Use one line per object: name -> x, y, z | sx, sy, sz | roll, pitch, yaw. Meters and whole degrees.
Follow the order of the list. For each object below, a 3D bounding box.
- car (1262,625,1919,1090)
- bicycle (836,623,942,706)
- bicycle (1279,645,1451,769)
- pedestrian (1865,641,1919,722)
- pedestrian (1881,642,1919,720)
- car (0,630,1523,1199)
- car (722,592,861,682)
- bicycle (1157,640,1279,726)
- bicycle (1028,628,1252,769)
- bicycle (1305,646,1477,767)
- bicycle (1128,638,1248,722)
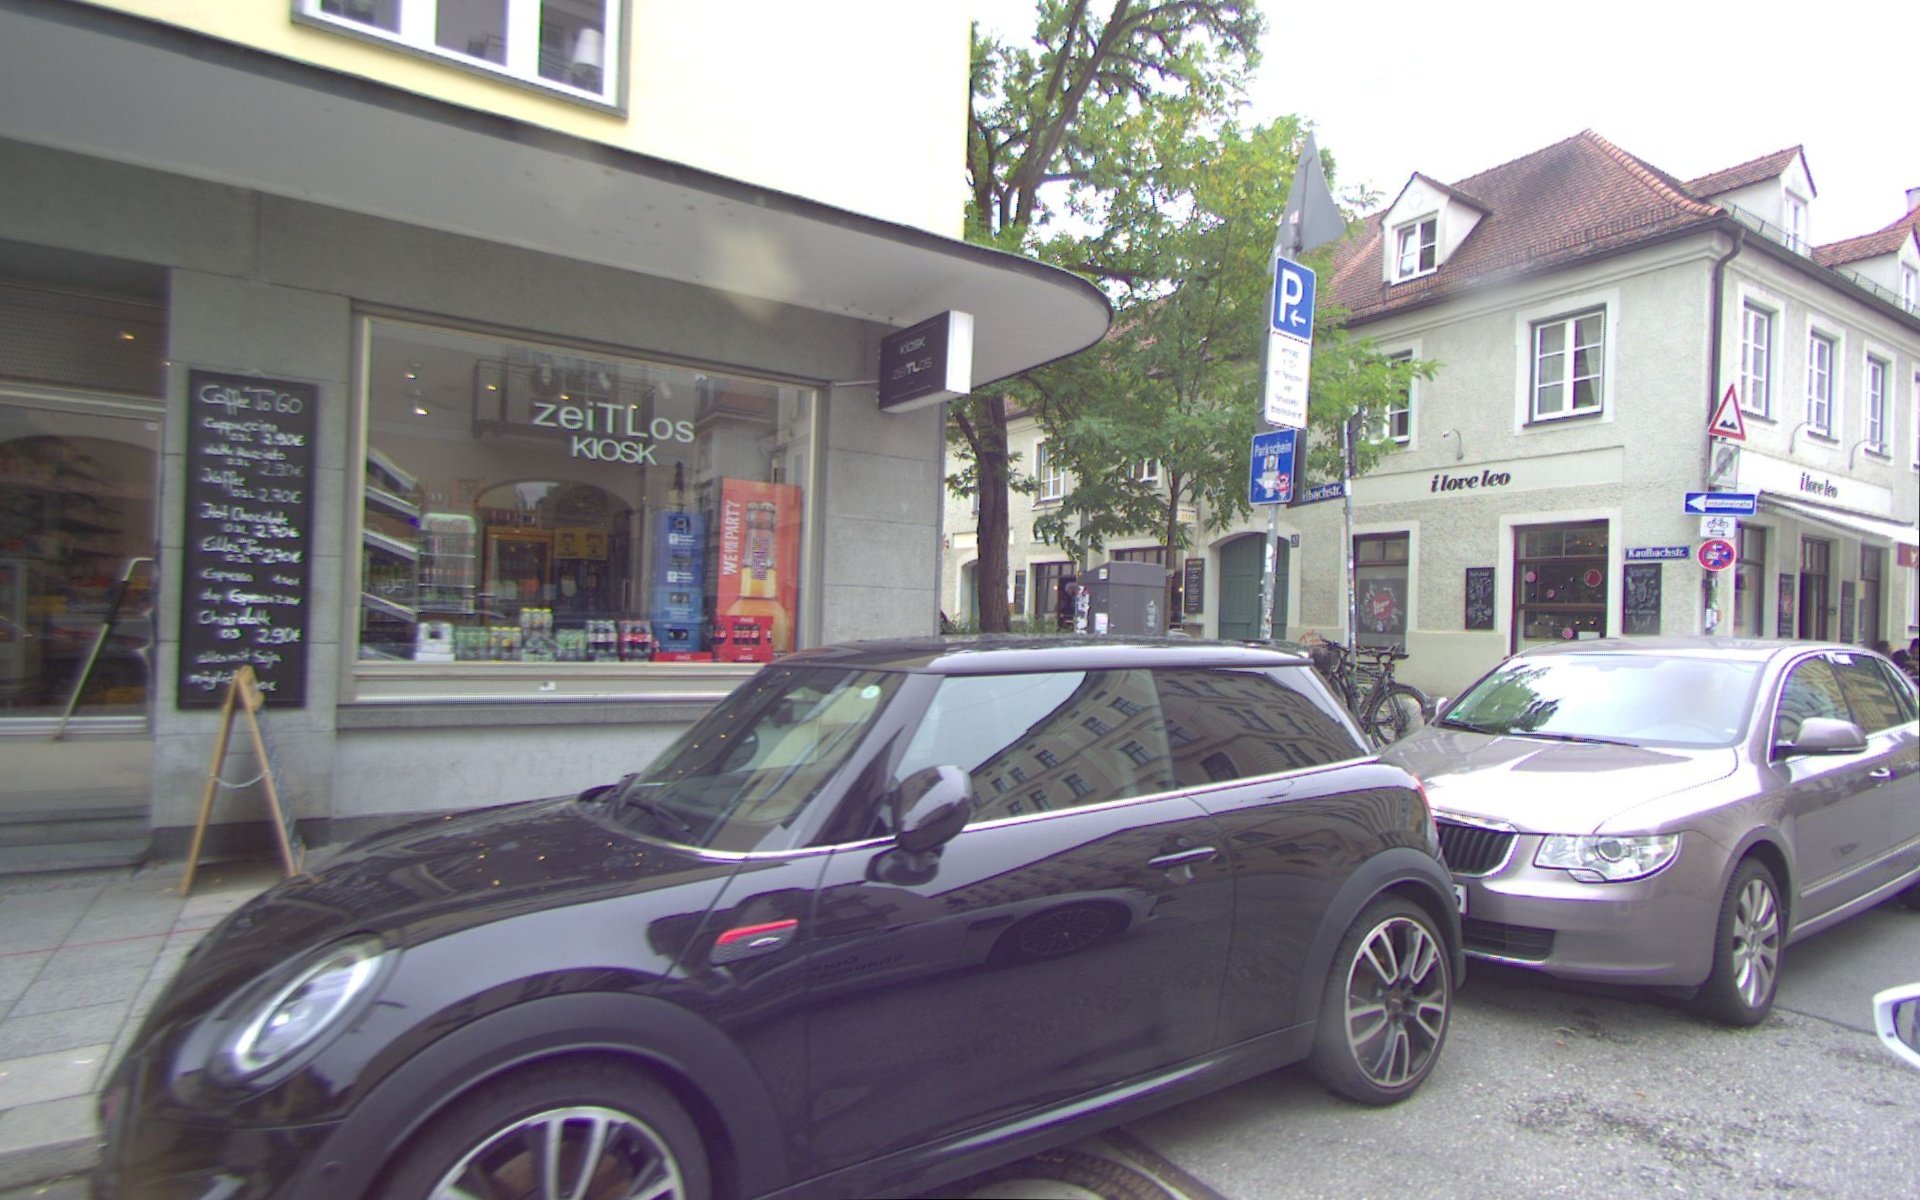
car -> 3.877, 0.912, 5.307 | 4.898, 1.490, 1.669 | 2, -2, -34
bicycle -> -1.188, 1.021, 16.176 | 0.807, 1.227, 2.358 | 3, -3, -27
bicycle -> 4.134, 1.053, 10.410 | 0.387, 1.049, 1.811 | 1, 1, -27
pedestrian -> 15.754, 1.350, 16.762 | 0.685, 1.307, 0.799 | 3, -2, -30
pedestrian -> 16.366, 1.384, 17.133 | 0.685, 1.307, 0.799 | 3, -2, -30
car -> -0.300, 0.857, 3.023 | 4.049, 1.490, 1.671 | 2, -2, -30
car -> -4.082, 0.793, 23.689 | 1.883, 1.869, 4.429 | -2, 0, -28
bicycle -> 3.156, 1.007, 12.224 | 1.699, 0.978, 0.377 | 3, 0, -35
bicycle -> 1.855, 0.991, 11.006 | 0.807, 1.227, 2.831 | 3, 0, -27
bicycle -> 4.484, 1.074, 10.602 | 0.387, 1.049, 1.811 | 1, 1, -27
bicycle -> 2.886, 1.009, 12.636 | 1.699, 0.978, 0.377 | 3, 0, -35
